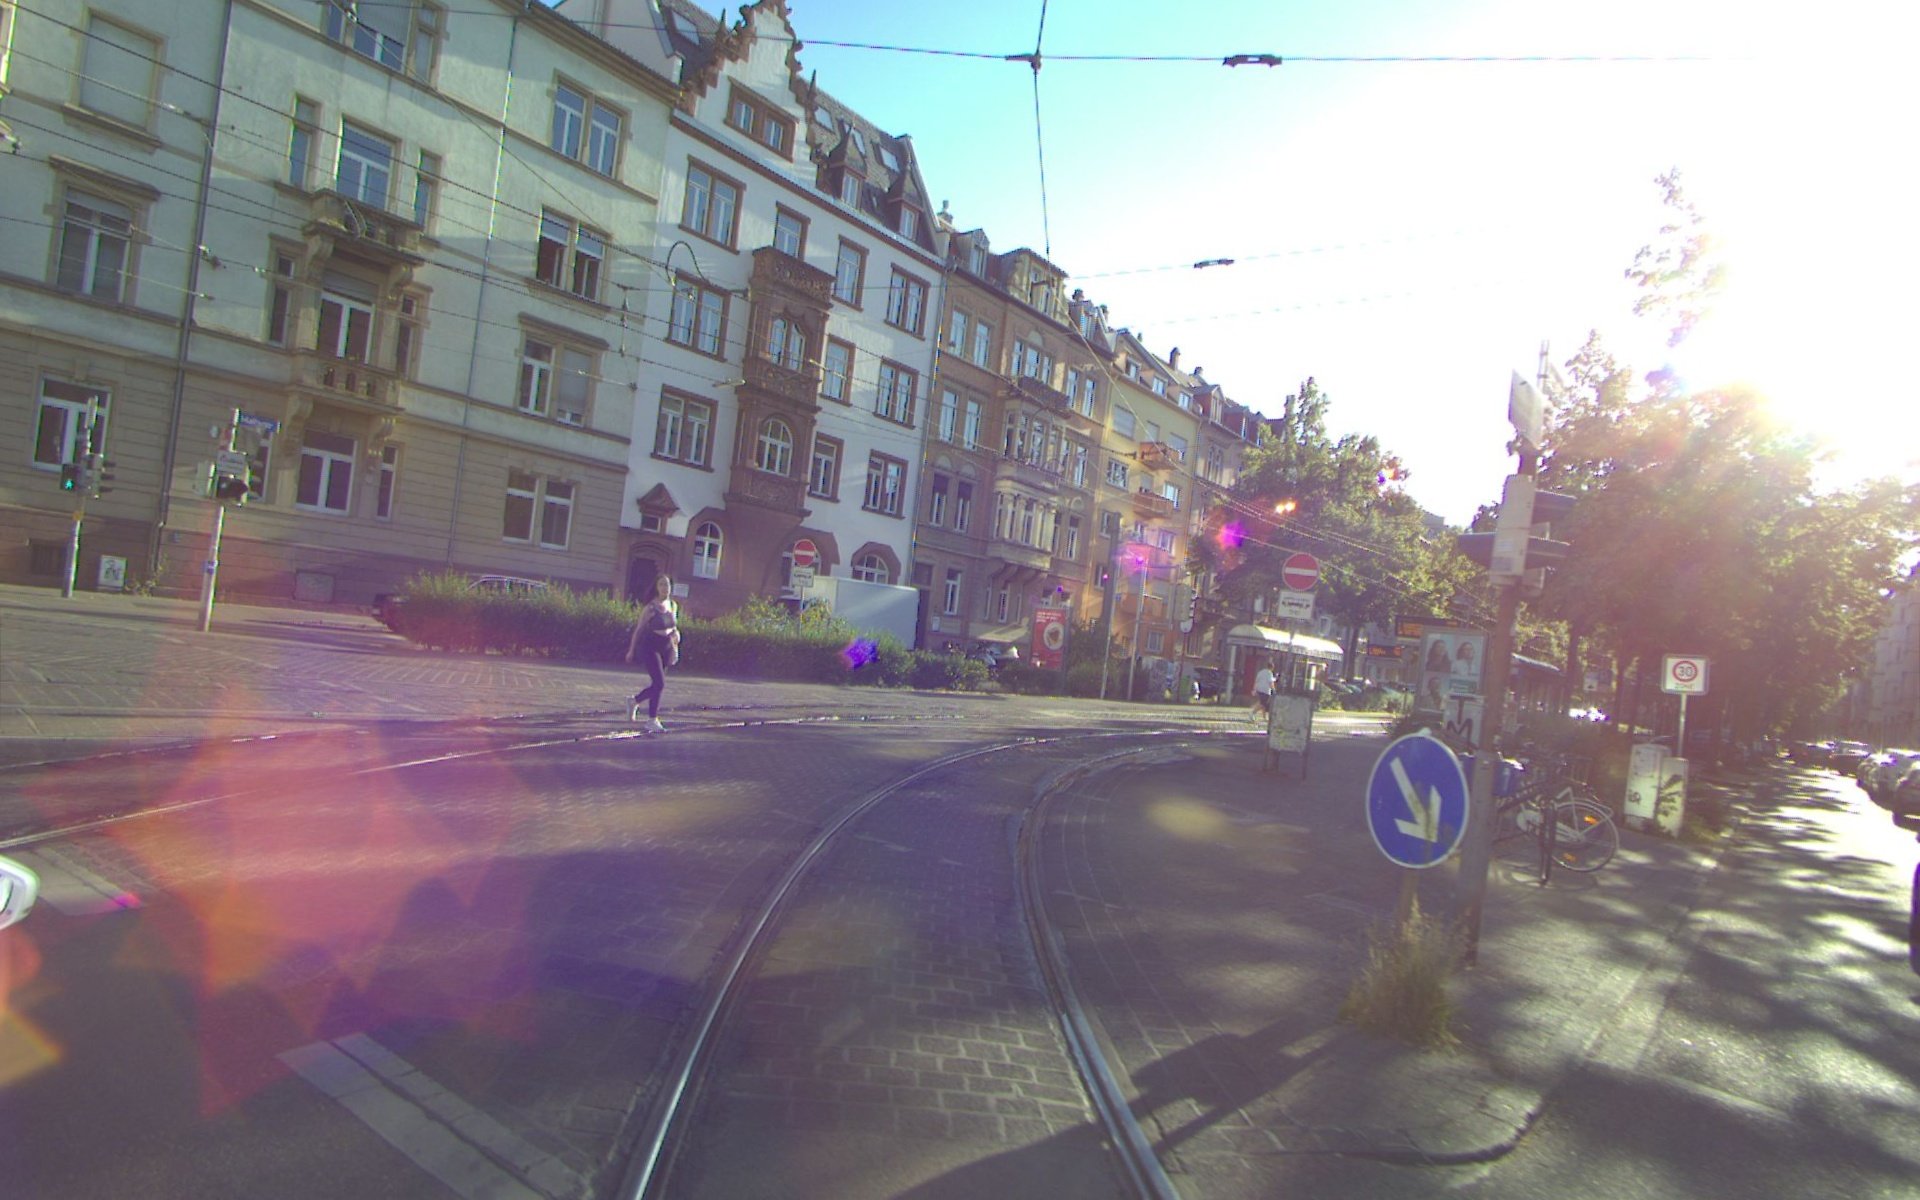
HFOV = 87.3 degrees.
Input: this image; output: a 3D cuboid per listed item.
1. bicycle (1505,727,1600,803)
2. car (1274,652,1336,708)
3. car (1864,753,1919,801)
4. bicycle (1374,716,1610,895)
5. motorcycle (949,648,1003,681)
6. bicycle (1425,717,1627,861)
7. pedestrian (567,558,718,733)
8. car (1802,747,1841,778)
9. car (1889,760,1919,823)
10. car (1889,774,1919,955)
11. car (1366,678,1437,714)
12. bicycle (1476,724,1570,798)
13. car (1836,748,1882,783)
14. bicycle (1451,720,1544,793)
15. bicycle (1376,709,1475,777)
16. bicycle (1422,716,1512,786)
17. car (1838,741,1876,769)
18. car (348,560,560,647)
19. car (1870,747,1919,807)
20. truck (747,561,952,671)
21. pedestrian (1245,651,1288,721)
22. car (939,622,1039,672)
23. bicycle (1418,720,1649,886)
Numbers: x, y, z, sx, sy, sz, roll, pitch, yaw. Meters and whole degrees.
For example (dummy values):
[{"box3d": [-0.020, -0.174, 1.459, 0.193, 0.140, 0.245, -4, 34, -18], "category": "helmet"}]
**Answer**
[{"box3d": [9.928, 2.766, 16.845, 1.781, 1.120, 0.496, 8, -2, -31], "category": "bicycle"}, {"box3d": [24.303, 5.650, 70.646, 1.918, 3.509, 5.677, 4, -3, 41], "category": "car"}, {"box3d": [37.006, 6.967, 39.737, 1.674, 1.532, 3.565, 8, -1, 41], "category": "car"}, {"box3d": [5.202, 1.944, 9.887, 1.807, 1.279, 0.754, 9, 1, 37], "category": "bicycle"}, {"box3d": [0.535, 2.127, 33.312, 1.730, 1.031, 0.605, -1, -6, 37], "category": "motorcycle"}, {"box3d": [6.962, 2.277, 12.432, 1.937, 1.279, 0.754, 10, 1, 37], "category": "bicycle"}, {"box3d": [-3.646, 0.530, 11.592, 1.065, 1.828, 1.025, 6, -1, 30], "category": "pedestrian"}, {"box3d": [52.847, 9.965, 61.714, 1.674, 1.532, 3.566, 7, -2, 41], "category": "car"}, {"box3d": [26.460, 5.280, 27.228, 1.674, 1.532, 3.565, 8, -1, 41], "category": "car"}, {"box3d": [8.769, 2.316, 7.839, 1.671, 1.512, 3.572, 7, -2, 36], "category": "car"}, {"box3d": [29.747, 6.436, 67.958, 1.916, 1.947, 4.259, 7, -3, -19], "category": "car"}, {"box3d": [9.661, 2.766, 17.234, 1.781, 1.120, 0.496, 8, -2, -31], "category": "bicycle"}, {"box3d": [49.261, 9.066, 55.178, 1.674, 1.532, 3.566, 7, -2, 41], "category": "car"}, {"box3d": [9.435, 2.752, 17.640, 1.781, 1.120, 0.496, 8, -2, -31], "category": "bicycle"}, {"box3d": [9.129, 2.799, 19.734, 1.772, 1.120, 0.499, 7, -1, -15], "category": "bicycle"}, {"box3d": [9.216, 2.749, 18.257, 1.781, 1.120, 0.496, 8, -2, -31], "category": "bicycle"}, {"box3d": [60.069, 10.376, 67.423, 1.674, 1.532, 3.565, 8, -1, 41], "category": "car"}, {"box3d": [-12.614, 0.119, 25.296, 1.918, 1.650, 4.255, 4, -4, 41], "category": "car"}, {"box3d": [33.646, 6.286, 35.502, 1.949, 1.840, 3.966, 8, -1, 41], "category": "car"}, {"box3d": [-3.742, 0.720, 36.437, 2.295, 3.115, 8.063, 4, -3, 36], "category": "truck"}, {"box3d": [9.471, 2.661, 31.111, 0.853, 2.039, 0.603, 9, 2, 44], "category": "pedestrian"}, {"box3d": [1.285, 2.030, 42.981, 1.918, 1.650, 4.255, 4, -4, 41], "category": "car"}, {"box3d": [6.174, 2.128, 10.882, 1.937, 1.279, 0.754, 10, 1, 37], "category": "bicycle"}]
